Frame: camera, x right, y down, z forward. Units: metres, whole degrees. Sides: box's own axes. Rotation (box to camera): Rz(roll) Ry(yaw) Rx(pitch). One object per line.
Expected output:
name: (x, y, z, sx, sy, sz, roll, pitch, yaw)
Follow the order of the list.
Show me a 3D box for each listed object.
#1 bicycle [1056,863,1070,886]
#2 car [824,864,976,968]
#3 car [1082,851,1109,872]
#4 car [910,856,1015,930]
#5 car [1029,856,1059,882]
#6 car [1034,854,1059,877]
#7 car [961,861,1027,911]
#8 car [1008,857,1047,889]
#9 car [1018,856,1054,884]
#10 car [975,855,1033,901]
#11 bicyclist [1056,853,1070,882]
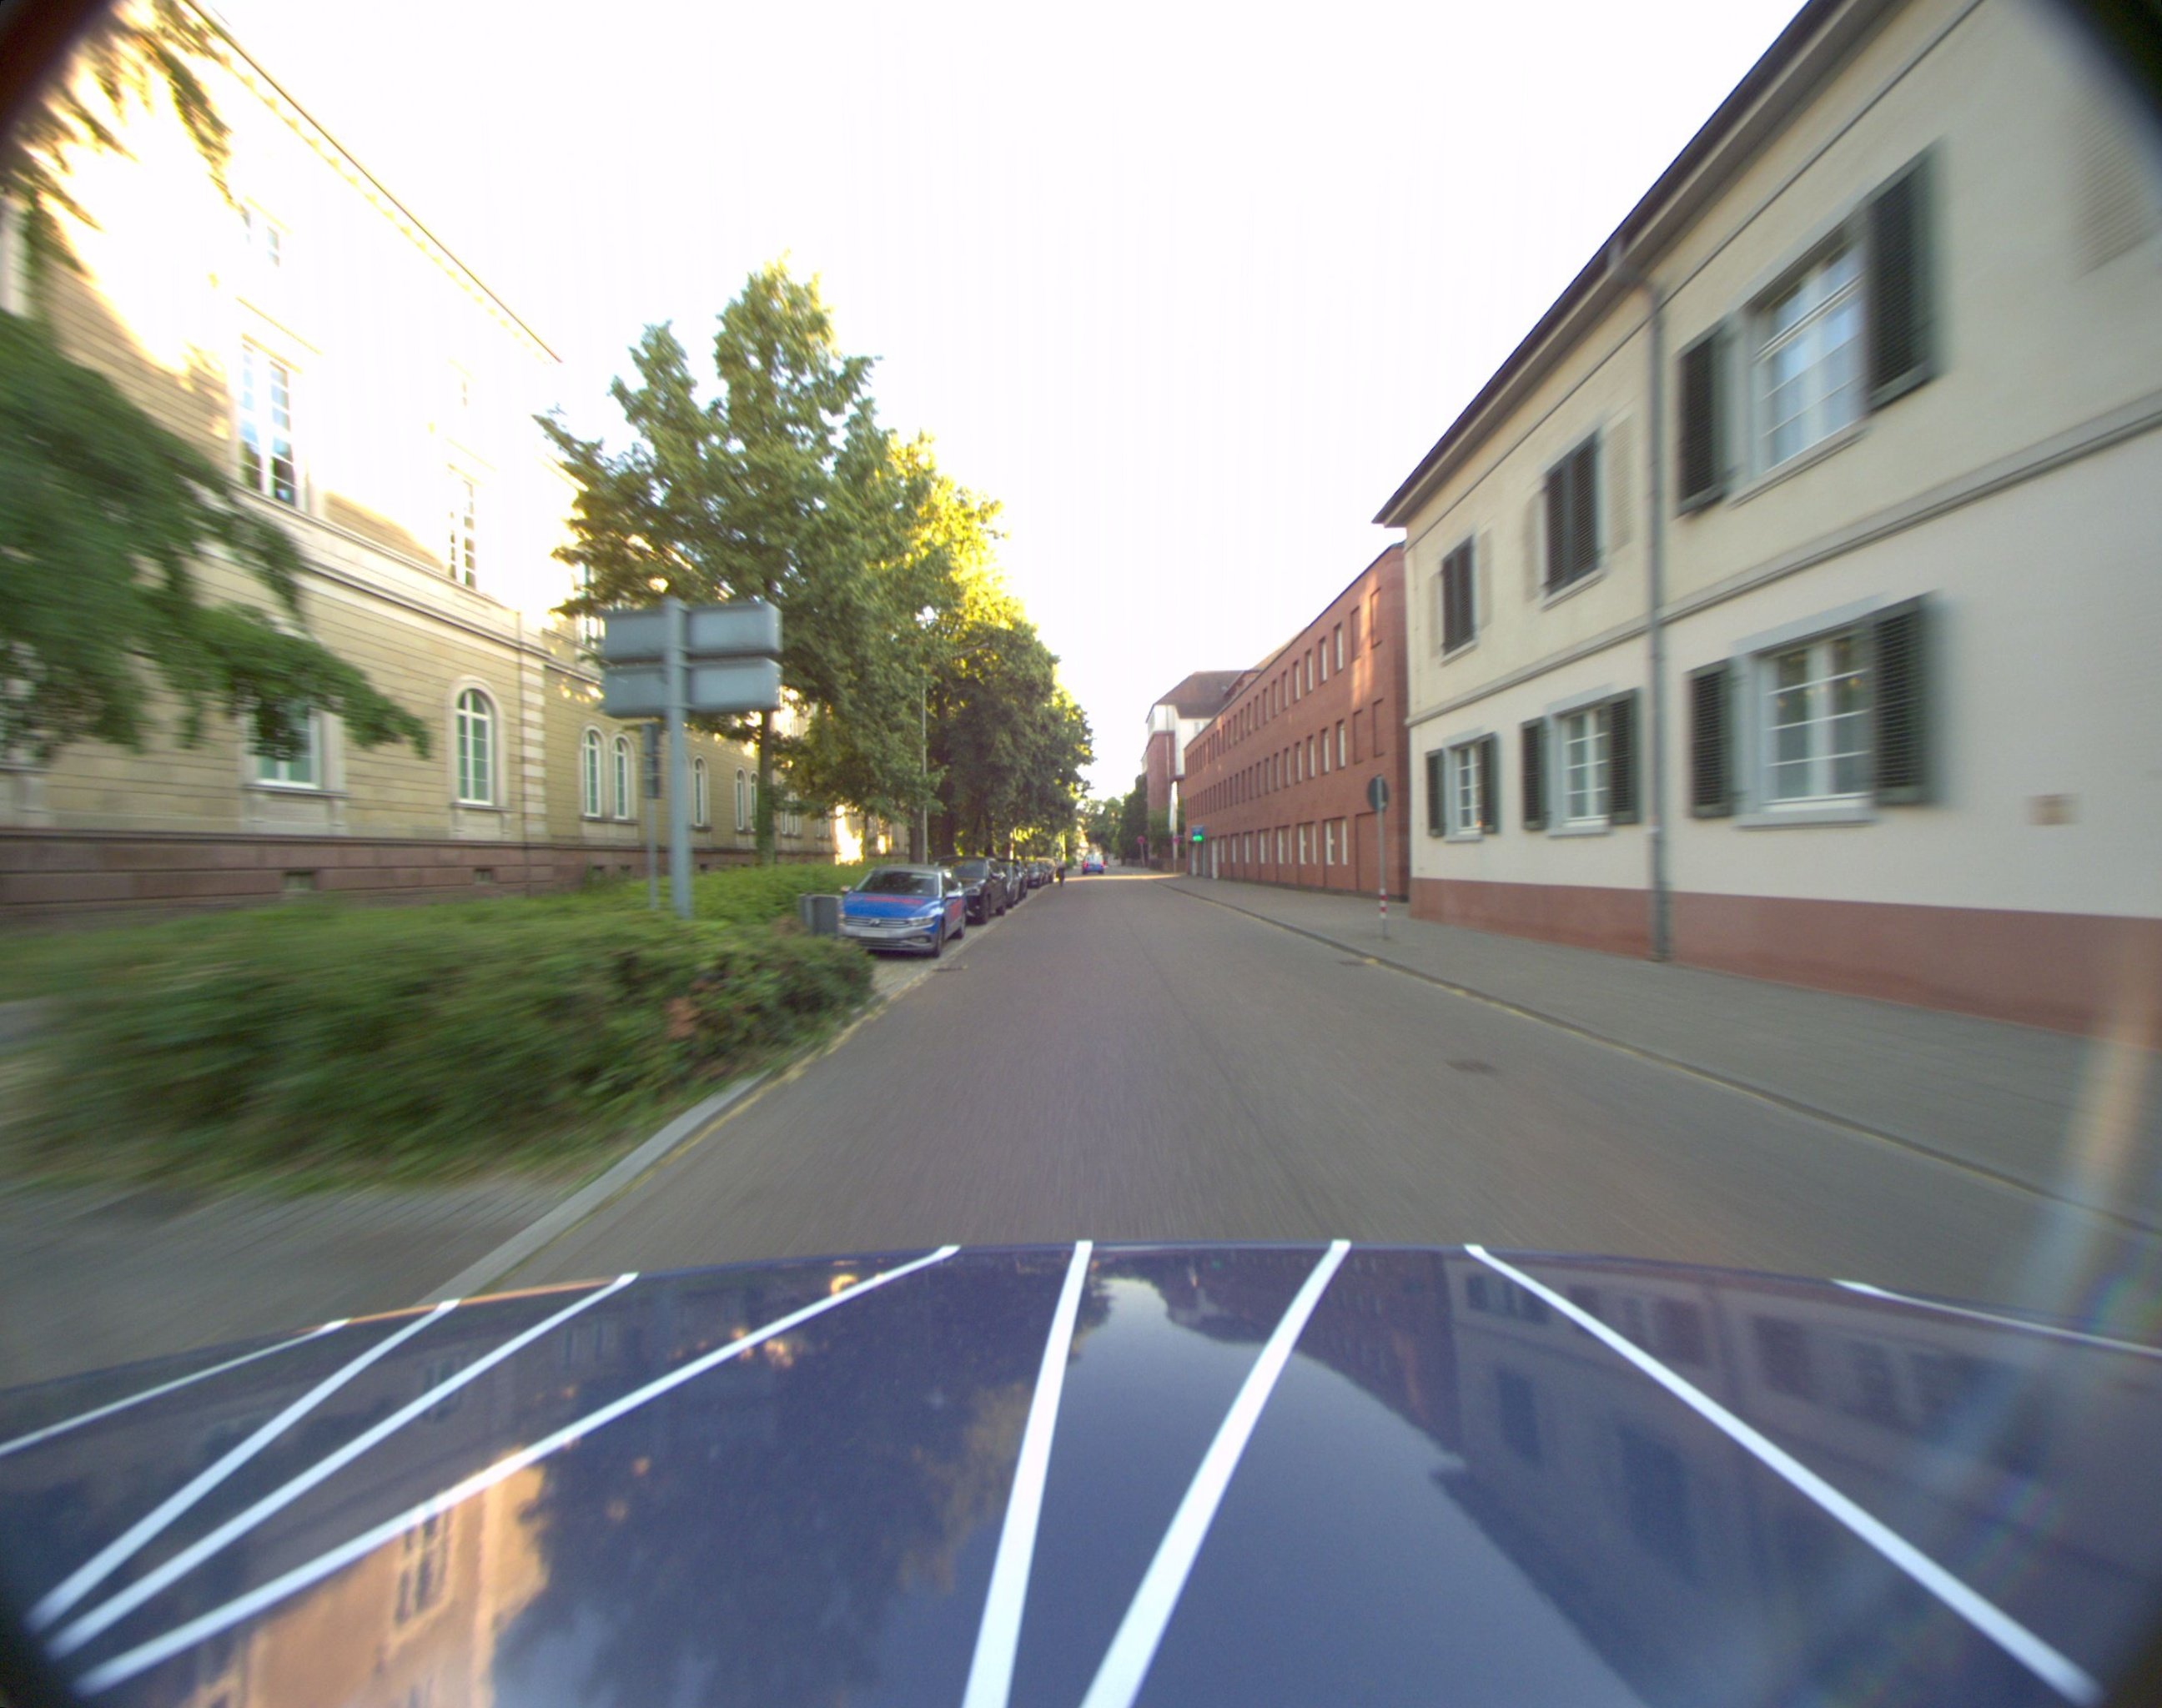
bicycle: (-1.052, 1.133, 43.081, 0.753, 1.245, 2.209, -1, 0, -2)
car: (-3.121, 0.996, 14.084, 1.728, 1.479, 4.610, 2, 0, -1)
car: (1.318, 0.717, 72.959, 1.999, 1.863, 5.107, -1, -2, -6)
car: (-2.967, 0.906, 20.013, 1.728, 1.642, 4.713, -1, 1, 3)
car: (-2.510, 0.981, 52.672, 1.728, 1.525, 4.622, 4, 1, 0)
car: (-2.673, 0.871, 59.737, 1.728, 1.673, 4.499, -1, 1, 0)
car: (-2.890, 1.019, 26.026, 1.728, 1.529, 4.189, -1, 0, 0)
car: (-2.892, 0.990, 41.986, 1.739, 1.498, 4.521, 3, 1, 0)
car: (-2.777, 0.989, 47.886, 1.728, 1.525, 4.190, 3, 1, 3)
car: (-3.051, 0.939, 30.924, 1.811, 1.641, 4.419, 3, 0, 0)
bicyclist: (-1.033, 0.771, 43.099, 0.753, 1.603, 1.038, -1, 0, -2)
